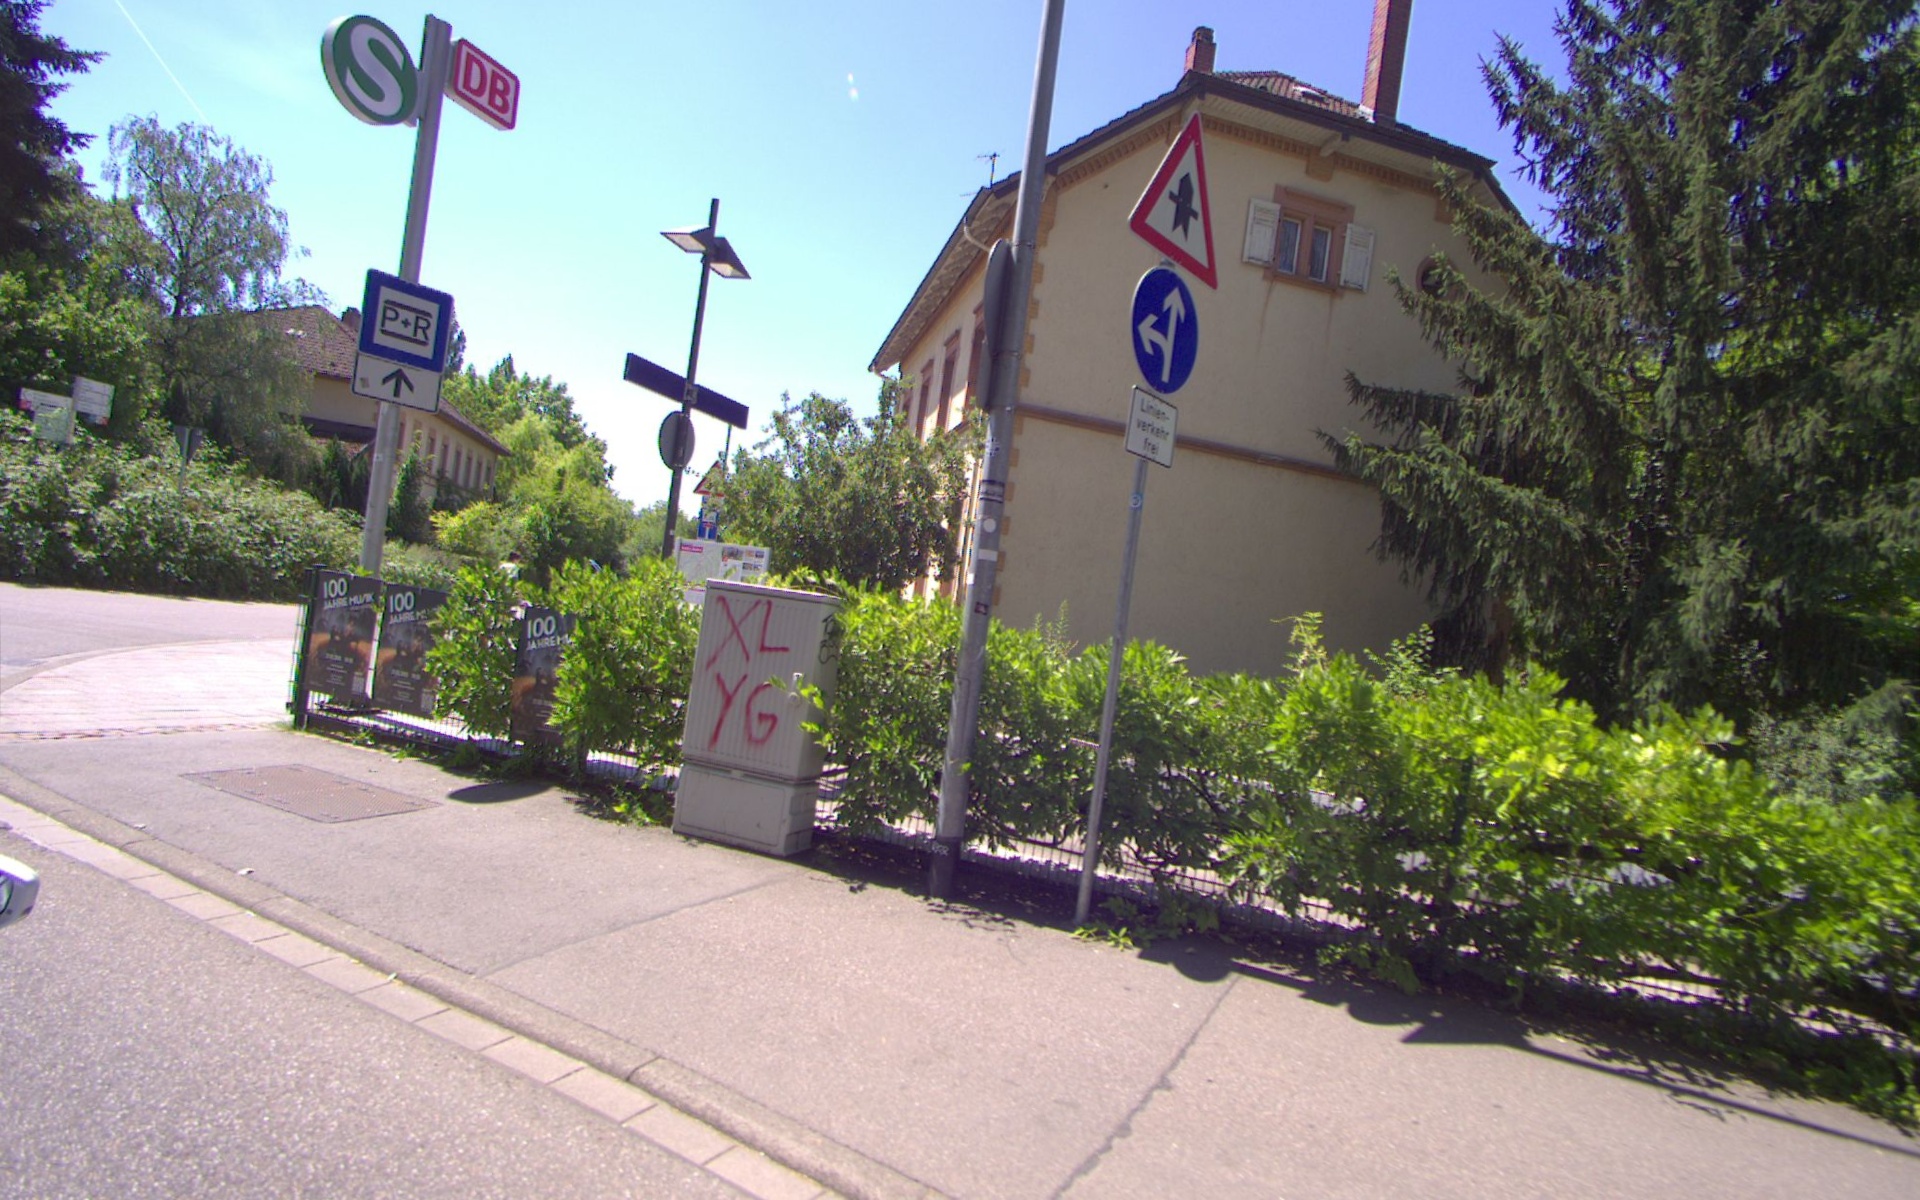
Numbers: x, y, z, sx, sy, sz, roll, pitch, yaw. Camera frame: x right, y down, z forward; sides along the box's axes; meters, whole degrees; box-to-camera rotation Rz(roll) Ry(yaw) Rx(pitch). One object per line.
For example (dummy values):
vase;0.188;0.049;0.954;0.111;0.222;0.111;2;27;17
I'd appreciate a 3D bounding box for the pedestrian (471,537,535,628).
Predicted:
pedestrian;-9.019;-0.336;19.861;0.687;1.647;0.617;10;1;20

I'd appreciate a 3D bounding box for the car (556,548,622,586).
car;-29.729;-2.586;80.672;4.385;2.350;2.198;8;0;-10

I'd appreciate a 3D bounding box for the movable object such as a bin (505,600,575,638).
movable object such as a bin;-8.154;0.379;19.582;0.507;0.601;1.243;8;-1;19
